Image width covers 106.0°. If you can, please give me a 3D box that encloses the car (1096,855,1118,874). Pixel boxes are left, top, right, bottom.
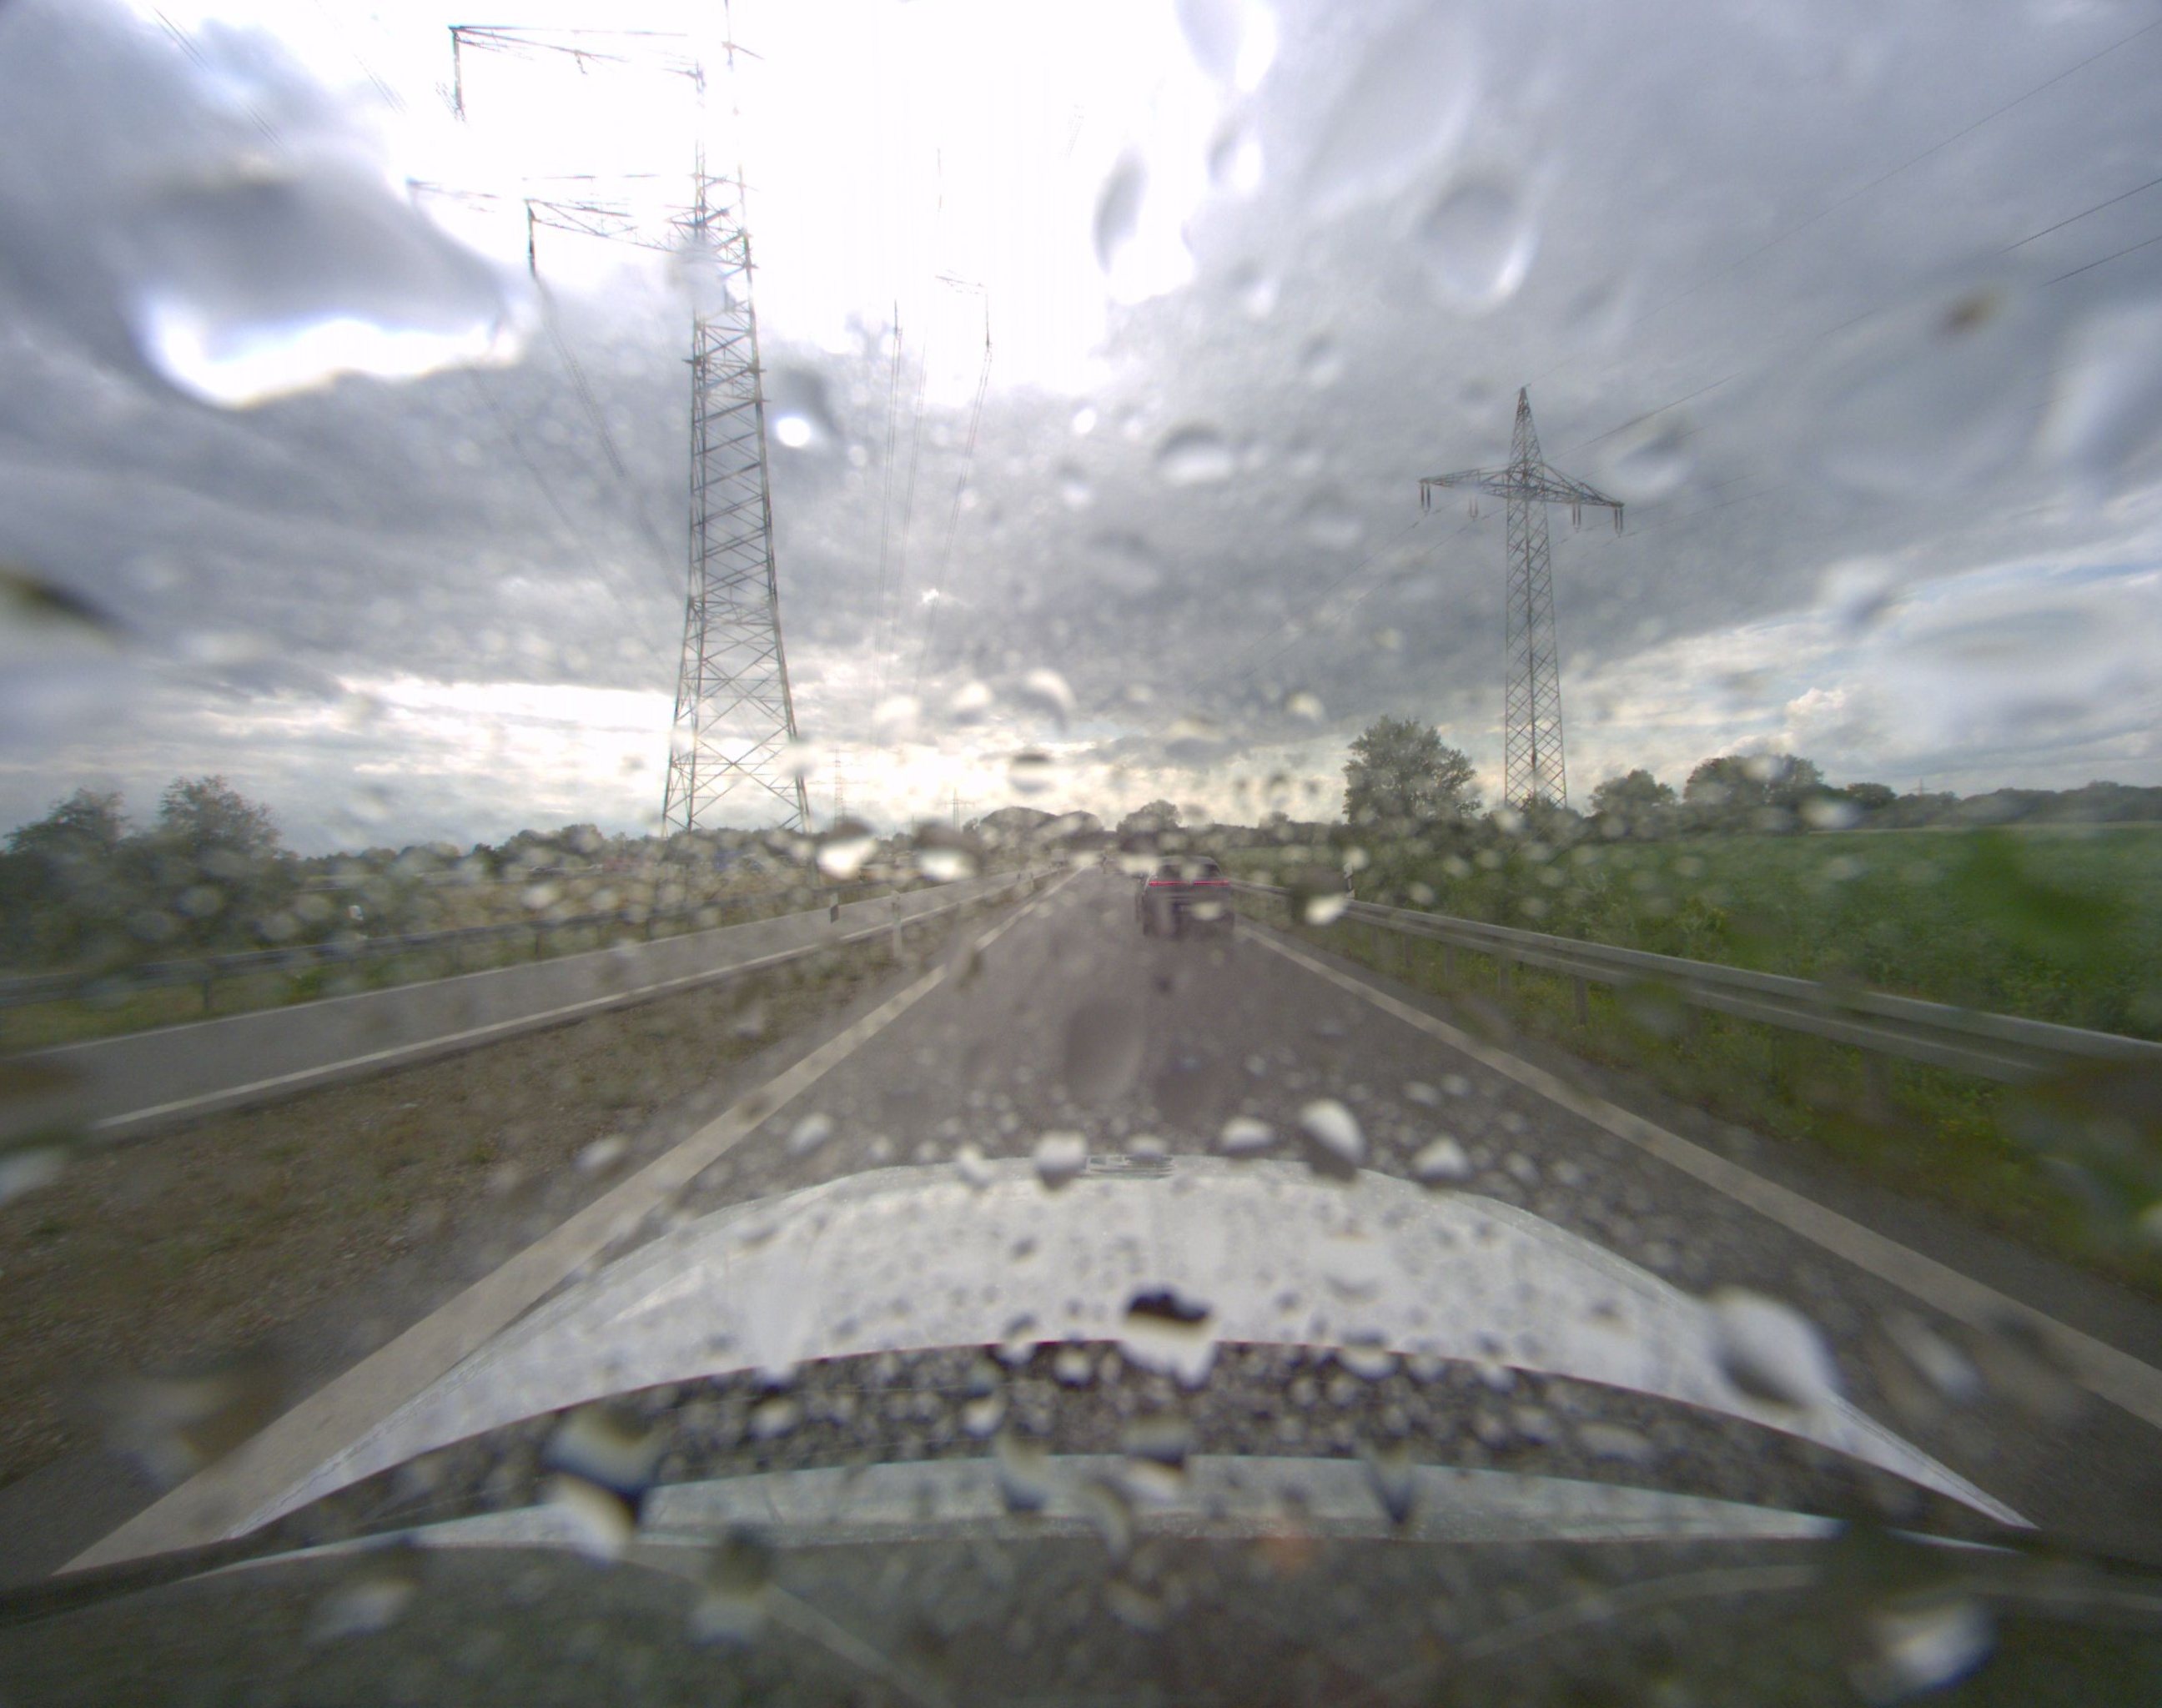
[{"bbox_3d":[3.445,1.390,109.204,2.347,2.306,5.120,-2,2,-5],"label":"car"}]

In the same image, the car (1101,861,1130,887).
[{"bbox_3d":[2.900,1.683,69.638,2.115,2.018,5.531,-2,0,-1],"label":"car"}]

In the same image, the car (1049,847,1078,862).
[{"bbox_3d":[-3.770,0.131,172.392,3.156,2.951,7.140,-3,2,-30],"label":"car"}]

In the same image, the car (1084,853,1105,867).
[{"bbox_3d":[2.445,1.105,147.439,2.357,2.306,5.098,-2,2,-18],"label":"car"}]

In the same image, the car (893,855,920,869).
[{"bbox_3d":[-48.183,2.114,224.569,3.411,3.610,8.941,-2,0,-38],"label":"car"}]

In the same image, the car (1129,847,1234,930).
[{"bbox_3d":[2.053,0.656,17.589,1.985,1.566,4.153,0,0,4],"label":"car"}]
